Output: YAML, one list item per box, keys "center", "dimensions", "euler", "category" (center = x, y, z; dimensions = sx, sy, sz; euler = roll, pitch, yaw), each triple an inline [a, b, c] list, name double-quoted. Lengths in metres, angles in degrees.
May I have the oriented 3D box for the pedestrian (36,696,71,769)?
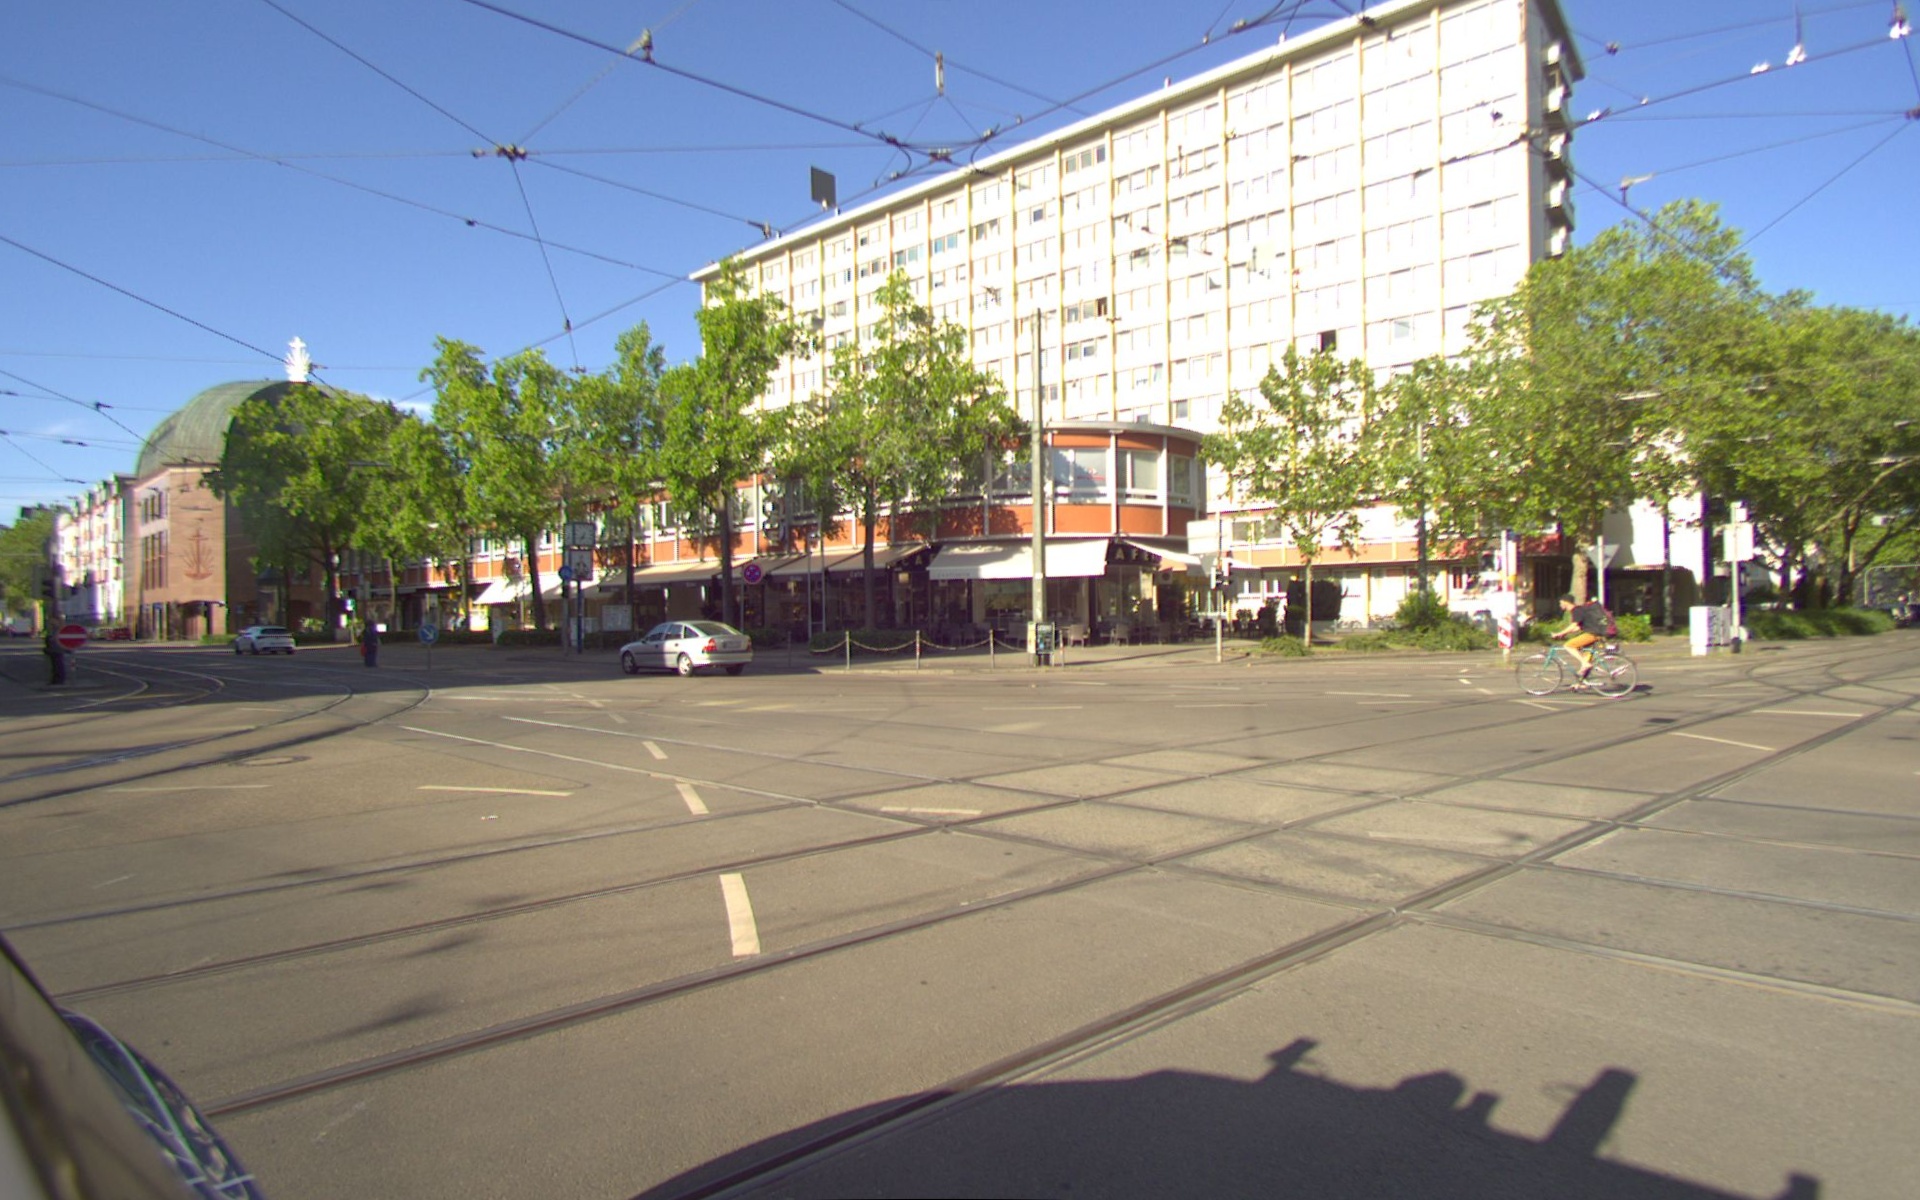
- center: [-23.312, 3.397, 26.027]
  dimensions: [0.895, 1.777, 0.552]
  euler: [-3, -4, 43]
  category: "pedestrian"

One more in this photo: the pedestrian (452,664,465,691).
- center: [-34.119, 5.266, 68.858]
  dimensions: [0.706, 1.764, 0.566]
  euler: [-2, -2, 44]
  category: "pedestrian"

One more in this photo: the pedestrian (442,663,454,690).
- center: [-34.606, 5.191, 68.382]
  dimensions: [0.706, 1.785, 0.566]
  euler: [-2, -2, 44]
  category: "pedestrian"

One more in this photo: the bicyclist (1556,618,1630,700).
- center: [10.388, 0.945, 16.624]
  dimensions: [0.927, 1.295, 0.582]
  euler: [-1, -1, 44]
  category: "bicyclist"

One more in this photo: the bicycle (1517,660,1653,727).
- center: [10.308, 1.522, 16.737]
  dimensions: [1.818, 0.980, 0.587]
  euler: [-1, -1, 44]
  category: "bicycle"

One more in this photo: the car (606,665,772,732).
- center: [-7.166, 2.502, 26.505]
  dimensions: [4.648, 1.462, 1.972]
  euler: [-2, -2, 42]
  category: "car"

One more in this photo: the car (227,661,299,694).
- center: [-35.106, 3.875, 50.946]
  dimensions: [4.500, 1.462, 1.972]
  euler: [-2, -2, 42]
  category: "car"

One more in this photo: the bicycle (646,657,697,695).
- center: [-9.489, 2.476, 33.270]
  dimensions: [2.234, 1.195, 0.492]
  euler: [-2, -2, 42]
  category: "bicycle"

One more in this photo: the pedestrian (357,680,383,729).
- center: [-19.267, 3.398, 33.034]
  dimensions: [0.859, 1.529, 0.494]
  euler: [-3, -4, 43]
  category: "pedestrian"

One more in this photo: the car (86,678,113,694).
- center: [-94.265, 9.421, 110.862]
  dimensions: [3.853, 1.465, 1.831]
  euler: [-2, -1, 43]
  category: "car"

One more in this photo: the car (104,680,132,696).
- center: [-86.881, 9.054, 104.386]
  dimensions: [3.470, 1.465, 1.730]
  euler: [-2, -1, 42]
  category: "car"

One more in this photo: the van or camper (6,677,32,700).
- center: [-128.193, 12.012, 137.865]
  dimensions: [7.020, 2.760, 2.014]
  euler: [-2, -3, 43]
  category: "van or camper"
